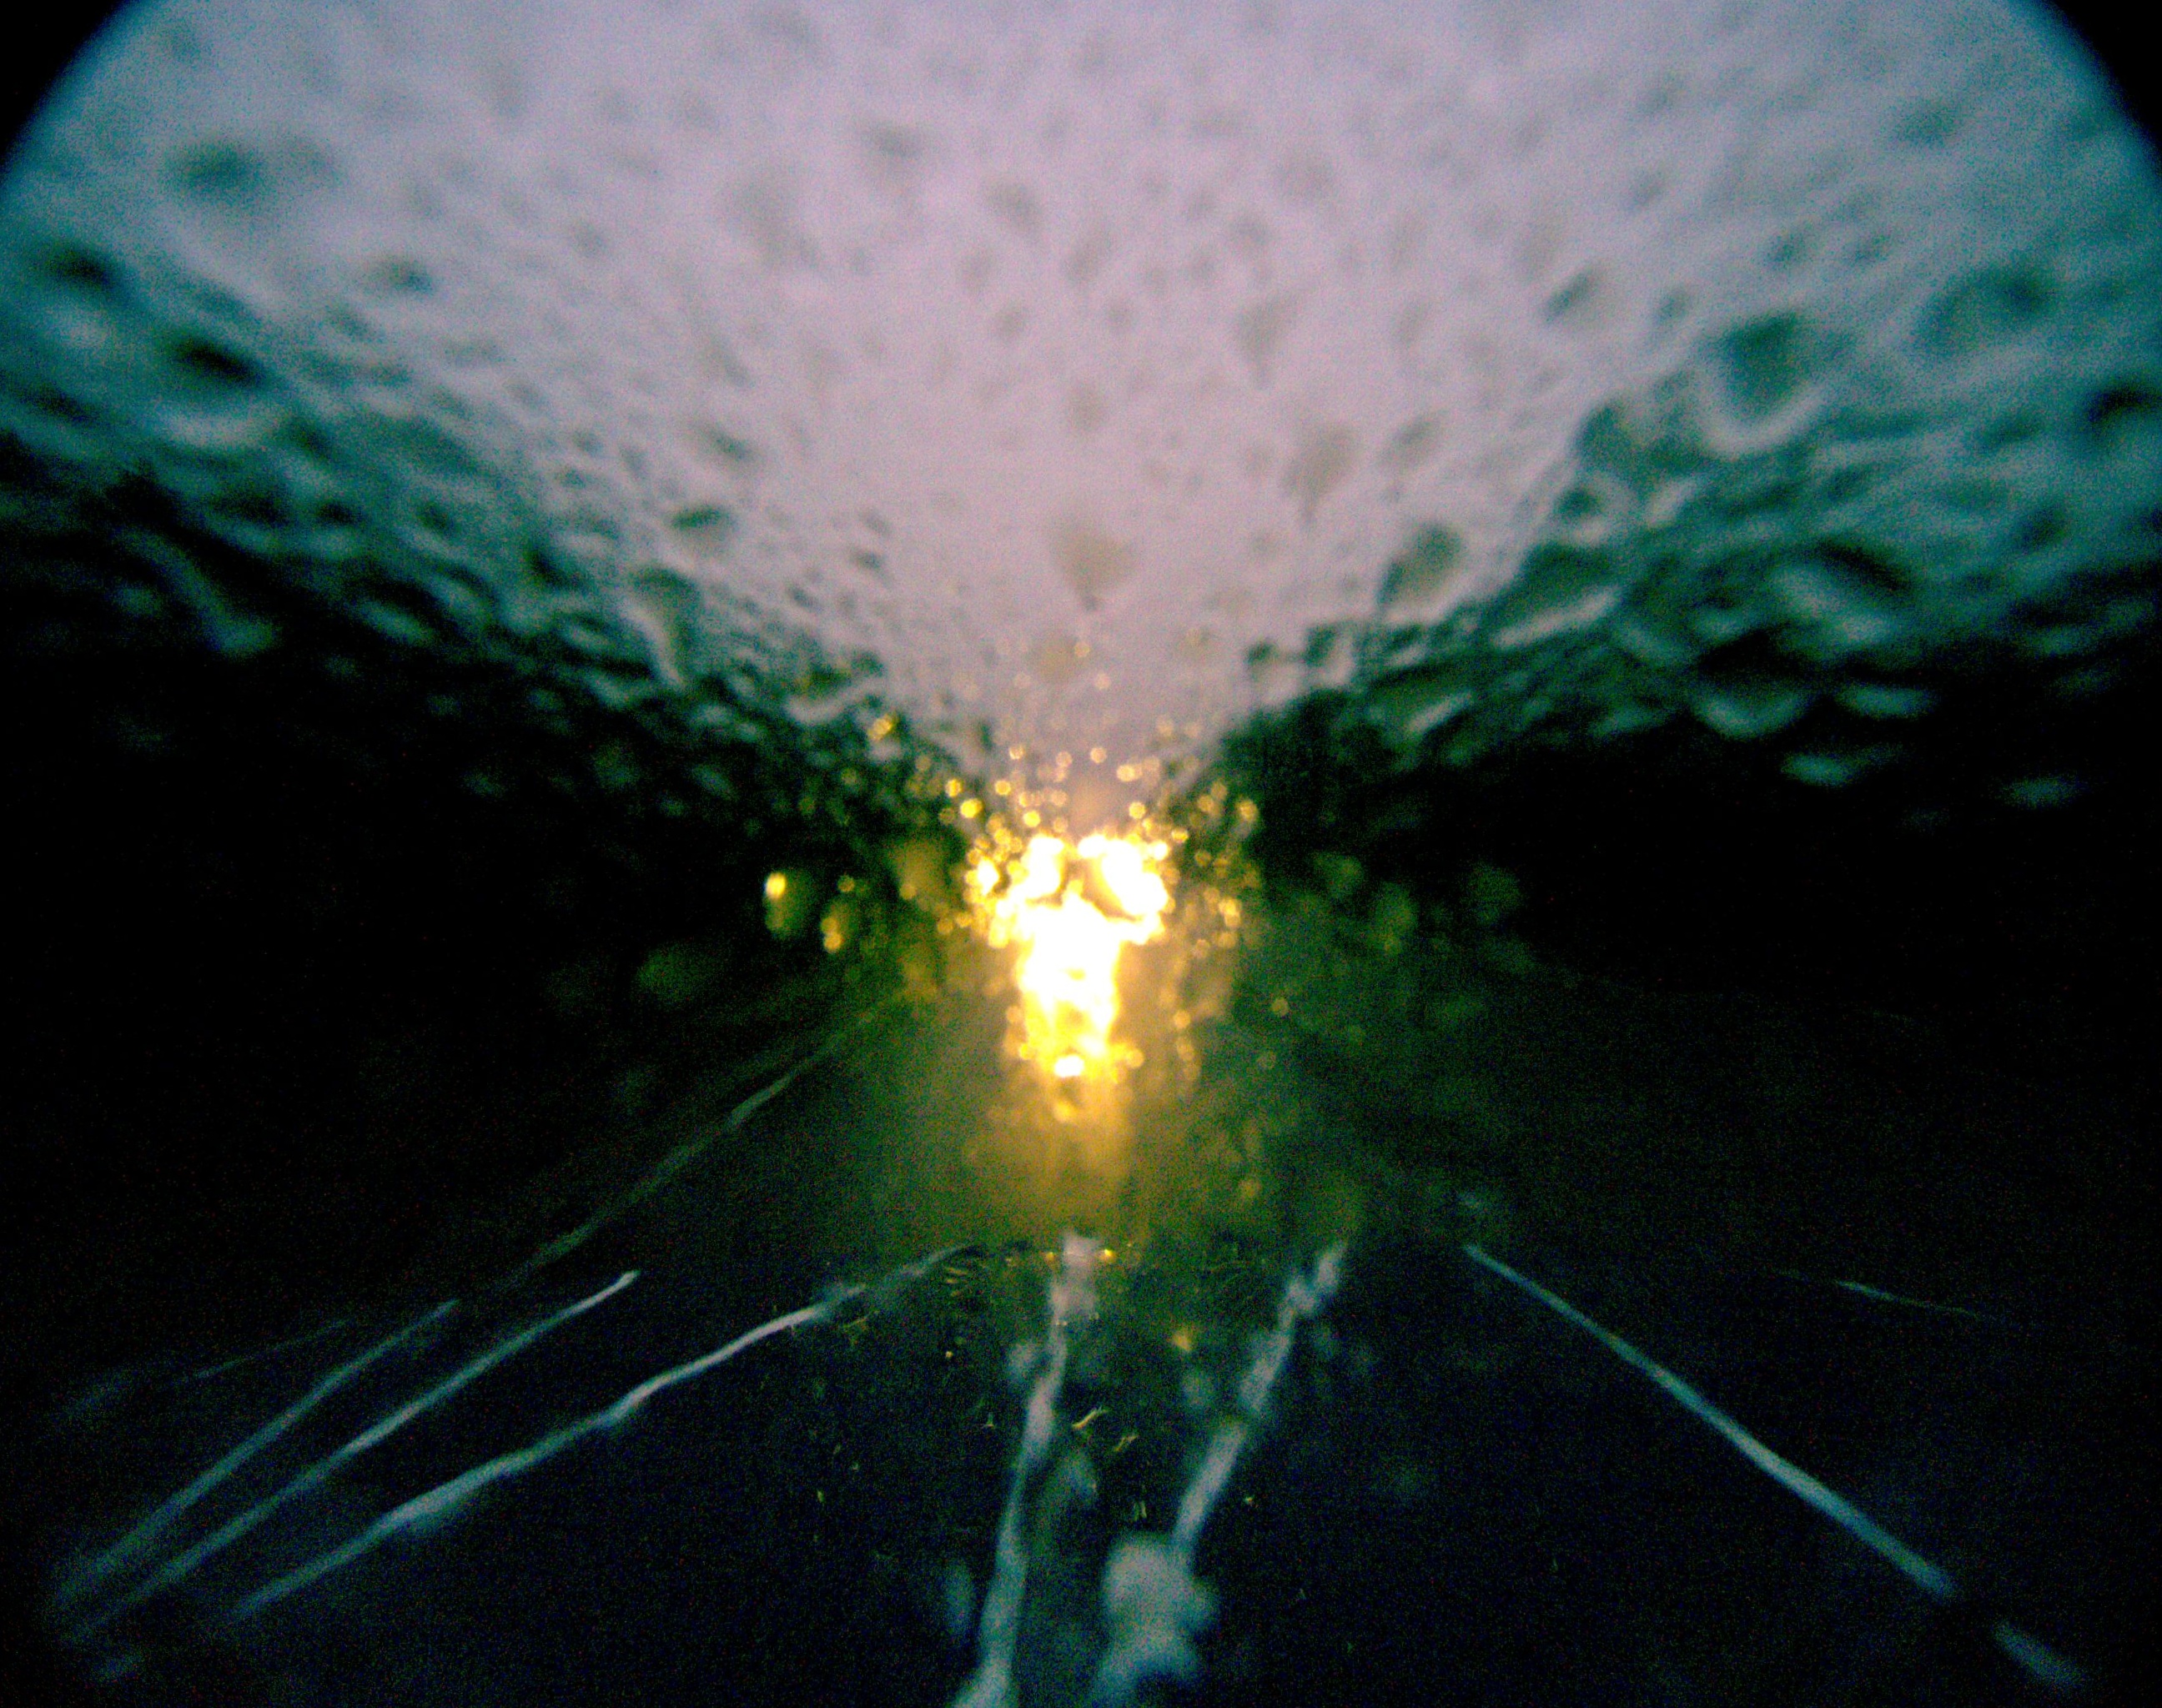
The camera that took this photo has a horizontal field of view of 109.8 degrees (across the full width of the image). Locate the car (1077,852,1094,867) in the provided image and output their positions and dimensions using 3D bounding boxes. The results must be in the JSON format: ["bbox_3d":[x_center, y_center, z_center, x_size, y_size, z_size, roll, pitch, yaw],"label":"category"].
[{"bbox_3d":[0.526,0.640,93.406,1.998,1.752,4.371,-2,1,1],"label":"car"}]

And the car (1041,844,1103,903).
[{"bbox_3d":[-0.207,0.546,24.545,1.572,1.701,4.001,-2,1,5],"label":"car"}]

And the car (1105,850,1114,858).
[{"bbox_3d":[6.208,-0.005,165.205,1.877,1.597,4.195,-2,0,0],"label":"car"}]
